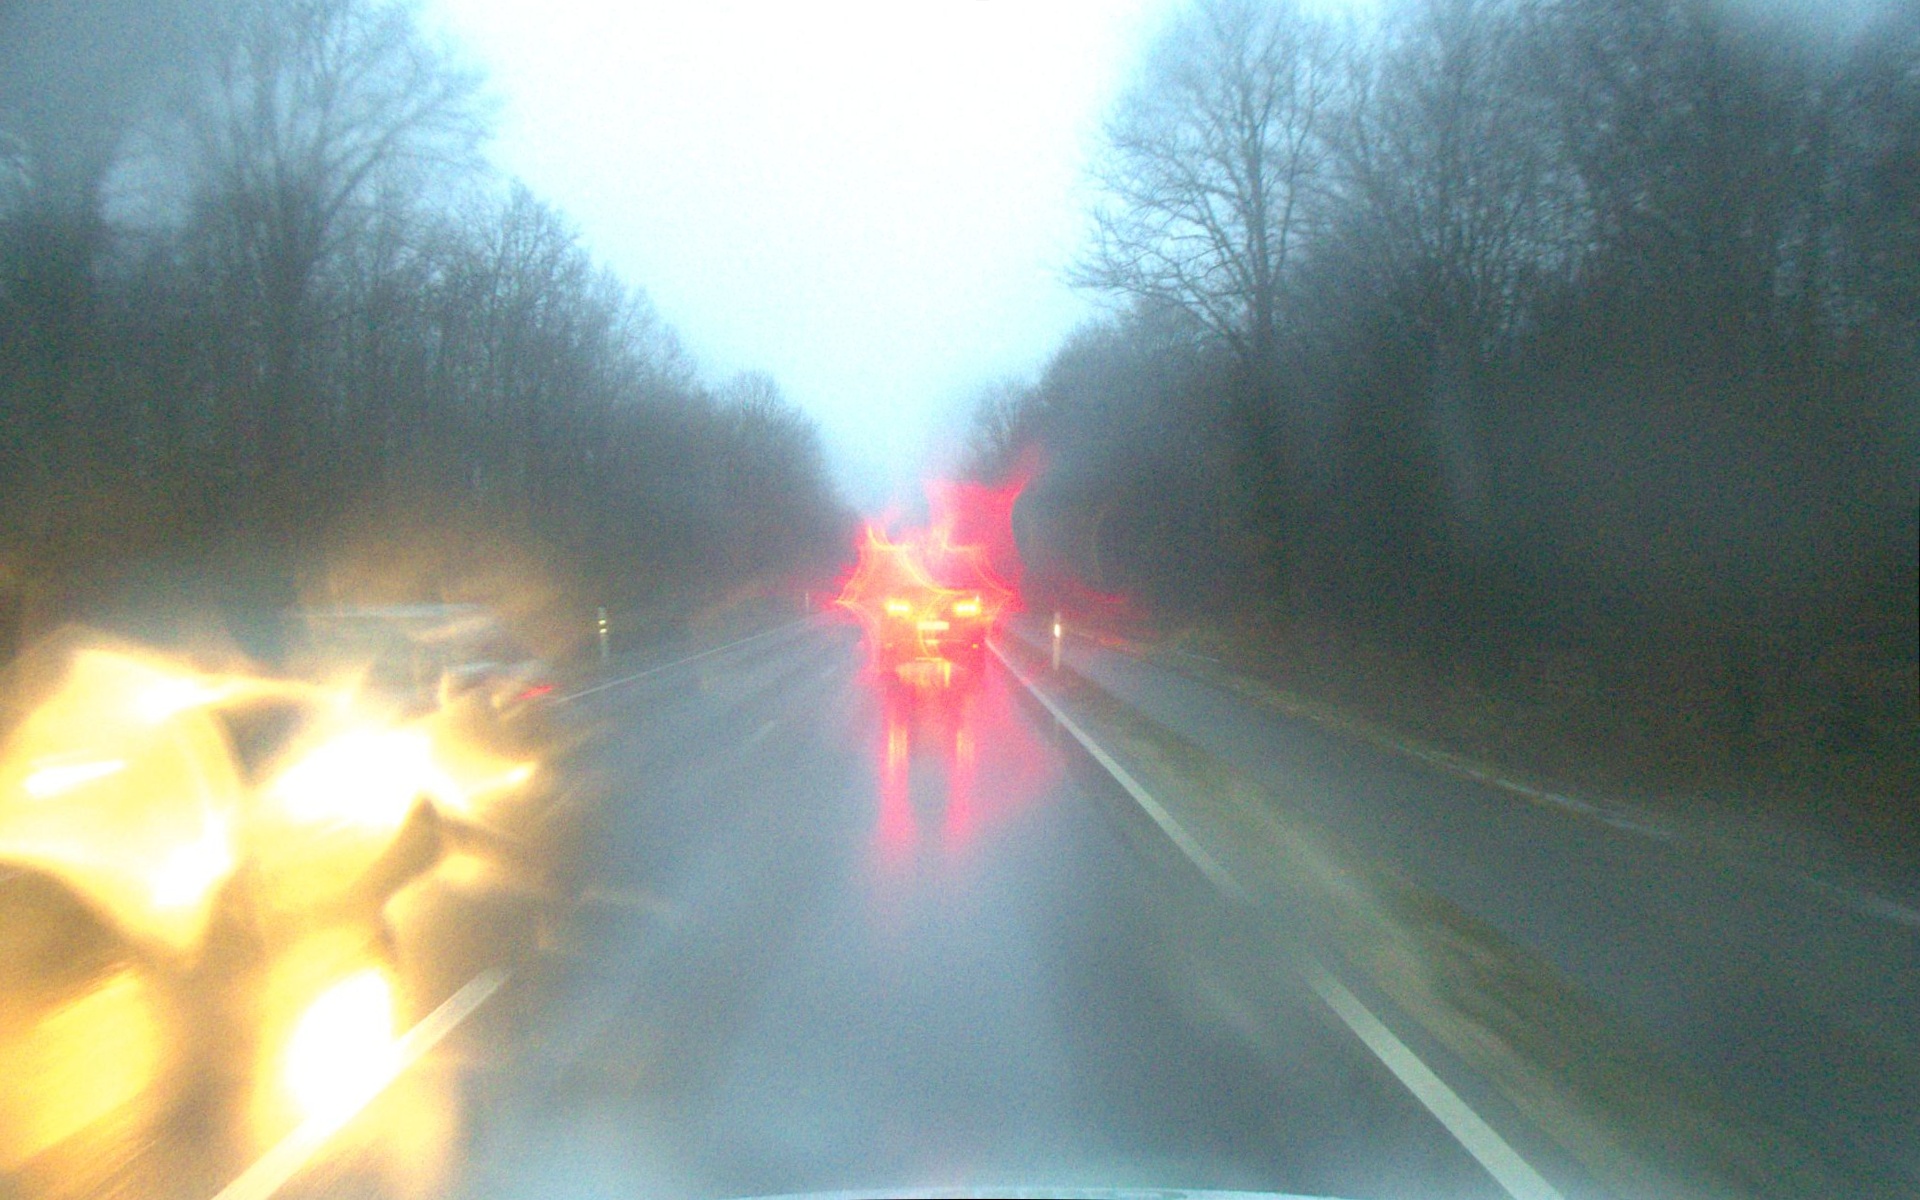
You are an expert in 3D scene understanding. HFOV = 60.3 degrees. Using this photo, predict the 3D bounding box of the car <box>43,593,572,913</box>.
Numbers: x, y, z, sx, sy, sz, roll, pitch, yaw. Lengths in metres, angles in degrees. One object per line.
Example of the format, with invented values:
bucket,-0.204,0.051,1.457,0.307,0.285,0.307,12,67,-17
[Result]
car,-3.475,0.695,9.651,1.586,1.413,4.070,-1,1,-2
